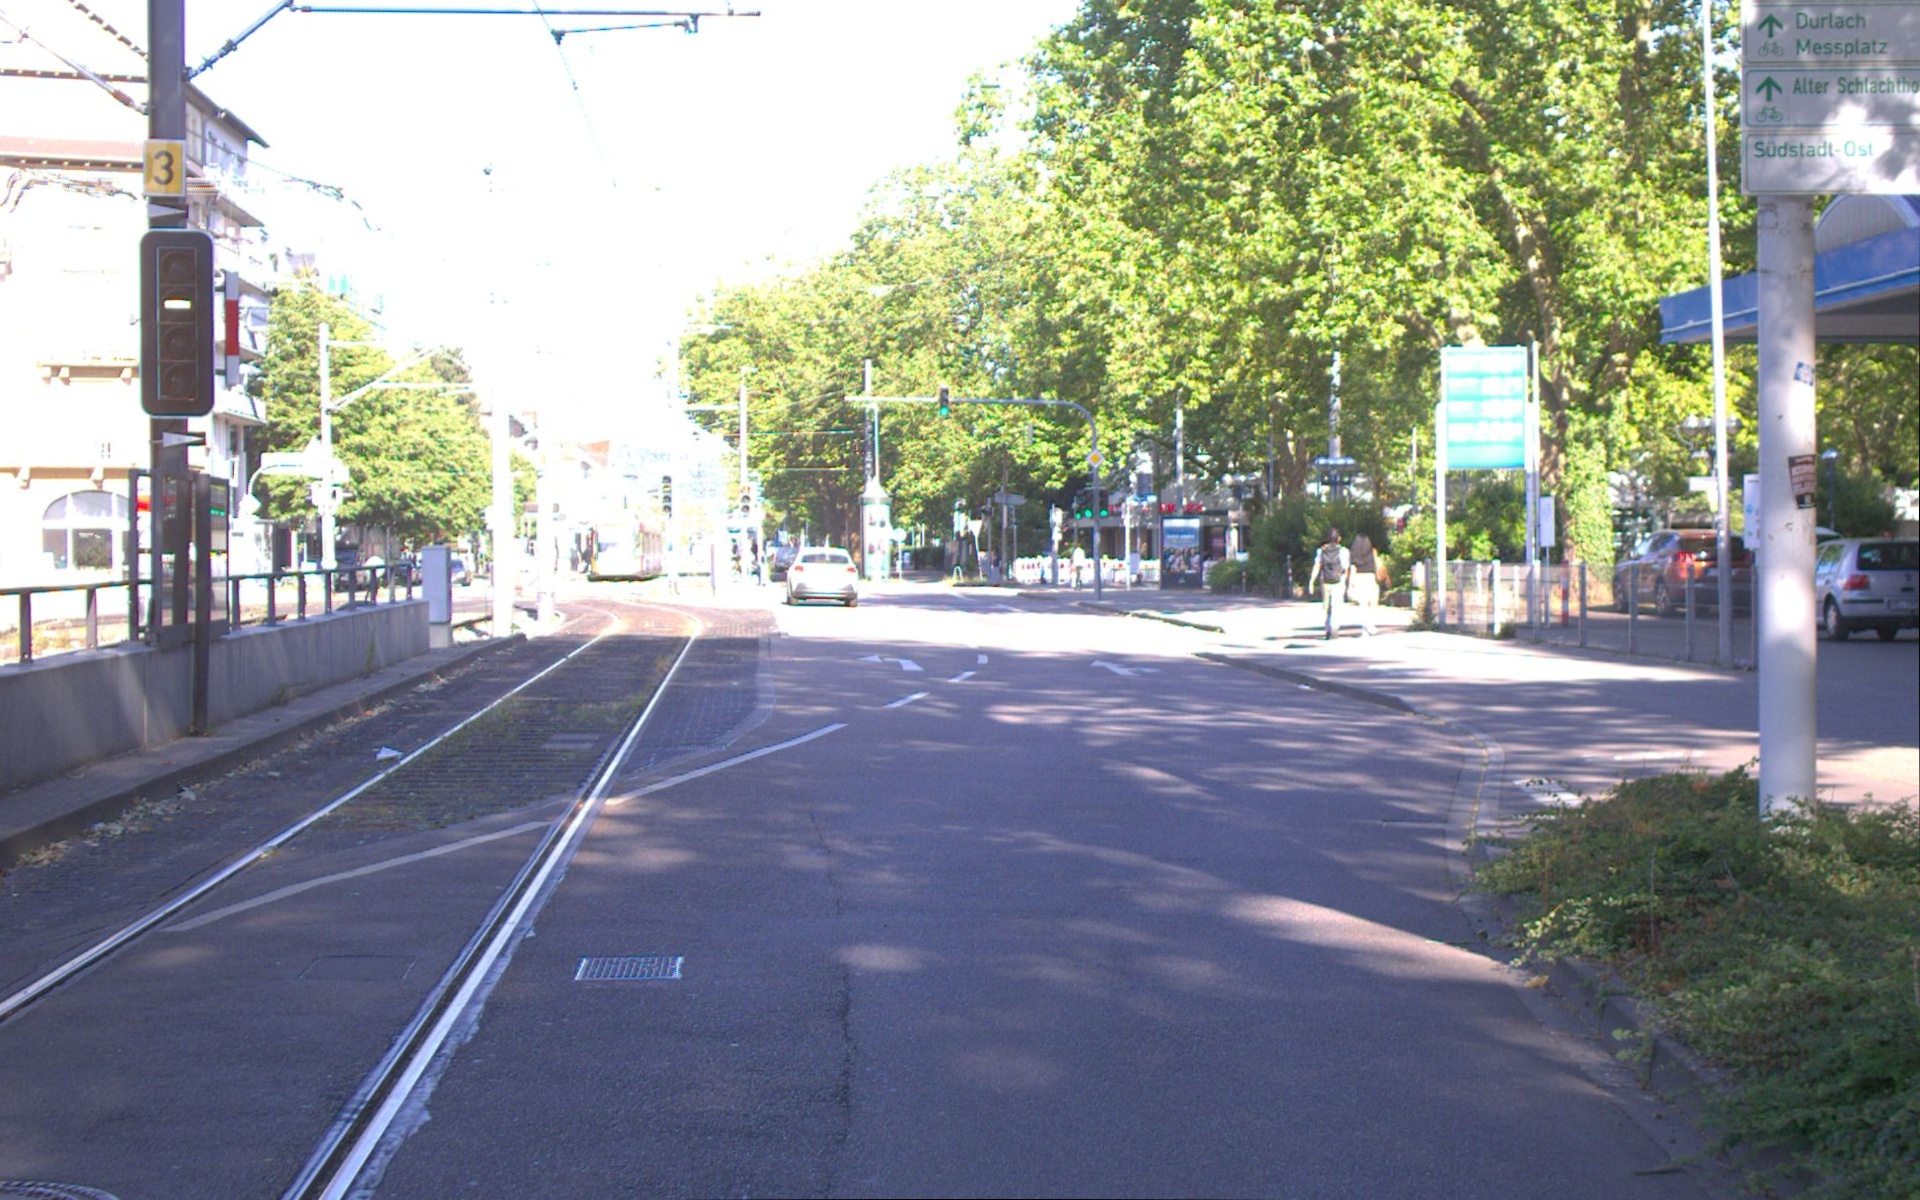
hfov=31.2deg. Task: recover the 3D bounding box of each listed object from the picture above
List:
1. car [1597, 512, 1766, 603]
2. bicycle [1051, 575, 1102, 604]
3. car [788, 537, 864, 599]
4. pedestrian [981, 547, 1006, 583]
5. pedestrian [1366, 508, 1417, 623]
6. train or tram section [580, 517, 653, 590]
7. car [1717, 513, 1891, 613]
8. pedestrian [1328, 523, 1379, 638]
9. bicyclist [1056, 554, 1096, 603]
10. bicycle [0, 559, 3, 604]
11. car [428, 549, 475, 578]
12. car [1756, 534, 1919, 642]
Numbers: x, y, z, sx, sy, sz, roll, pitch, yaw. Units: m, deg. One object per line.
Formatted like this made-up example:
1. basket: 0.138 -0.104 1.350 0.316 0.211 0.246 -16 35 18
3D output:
1. car: 13.685 -0.847 65.476 1.817 1.596 4.663 -1 2 -6
2. bicycle: 4.134 -0.383 122.732 1.198 0.931 2.575 2 1 -12
3. car: -3.401 -0.822 86.677 1.745 1.457 3.645 2 1 -4
4. pedestrian: 1.325 -1.387 136.229 0.660 1.383 0.831 2 1 29
5. pedestrian: 6.799 -0.548 54.140 0.603 1.770 0.690 -4 1 1
6. train or tram section: -16.957 -2.348 170.295 2.952 3.398 10.792 2 1 -3
7. car: 15.859 -0.735 64.841 1.859 1.729 4.799 -1 2 -3
8. pedestrian: 6.195 -0.311 54.155 0.603 1.770 0.879 -4 1 1
9. bicyclist: 4.147 -0.782 122.761 1.198 1.691 0.904 2 1 -12
10. bicycle: -24.691 -0.422 86.119 0.631 1.140 2.279 -2 1 4
11. car: -26.898 -1.961 181.902 1.993 1.444 4.841 -1 1 -3
12. car: 12.461 -0.197 47.810 1.567 1.425 4.099 -1 1 -4
